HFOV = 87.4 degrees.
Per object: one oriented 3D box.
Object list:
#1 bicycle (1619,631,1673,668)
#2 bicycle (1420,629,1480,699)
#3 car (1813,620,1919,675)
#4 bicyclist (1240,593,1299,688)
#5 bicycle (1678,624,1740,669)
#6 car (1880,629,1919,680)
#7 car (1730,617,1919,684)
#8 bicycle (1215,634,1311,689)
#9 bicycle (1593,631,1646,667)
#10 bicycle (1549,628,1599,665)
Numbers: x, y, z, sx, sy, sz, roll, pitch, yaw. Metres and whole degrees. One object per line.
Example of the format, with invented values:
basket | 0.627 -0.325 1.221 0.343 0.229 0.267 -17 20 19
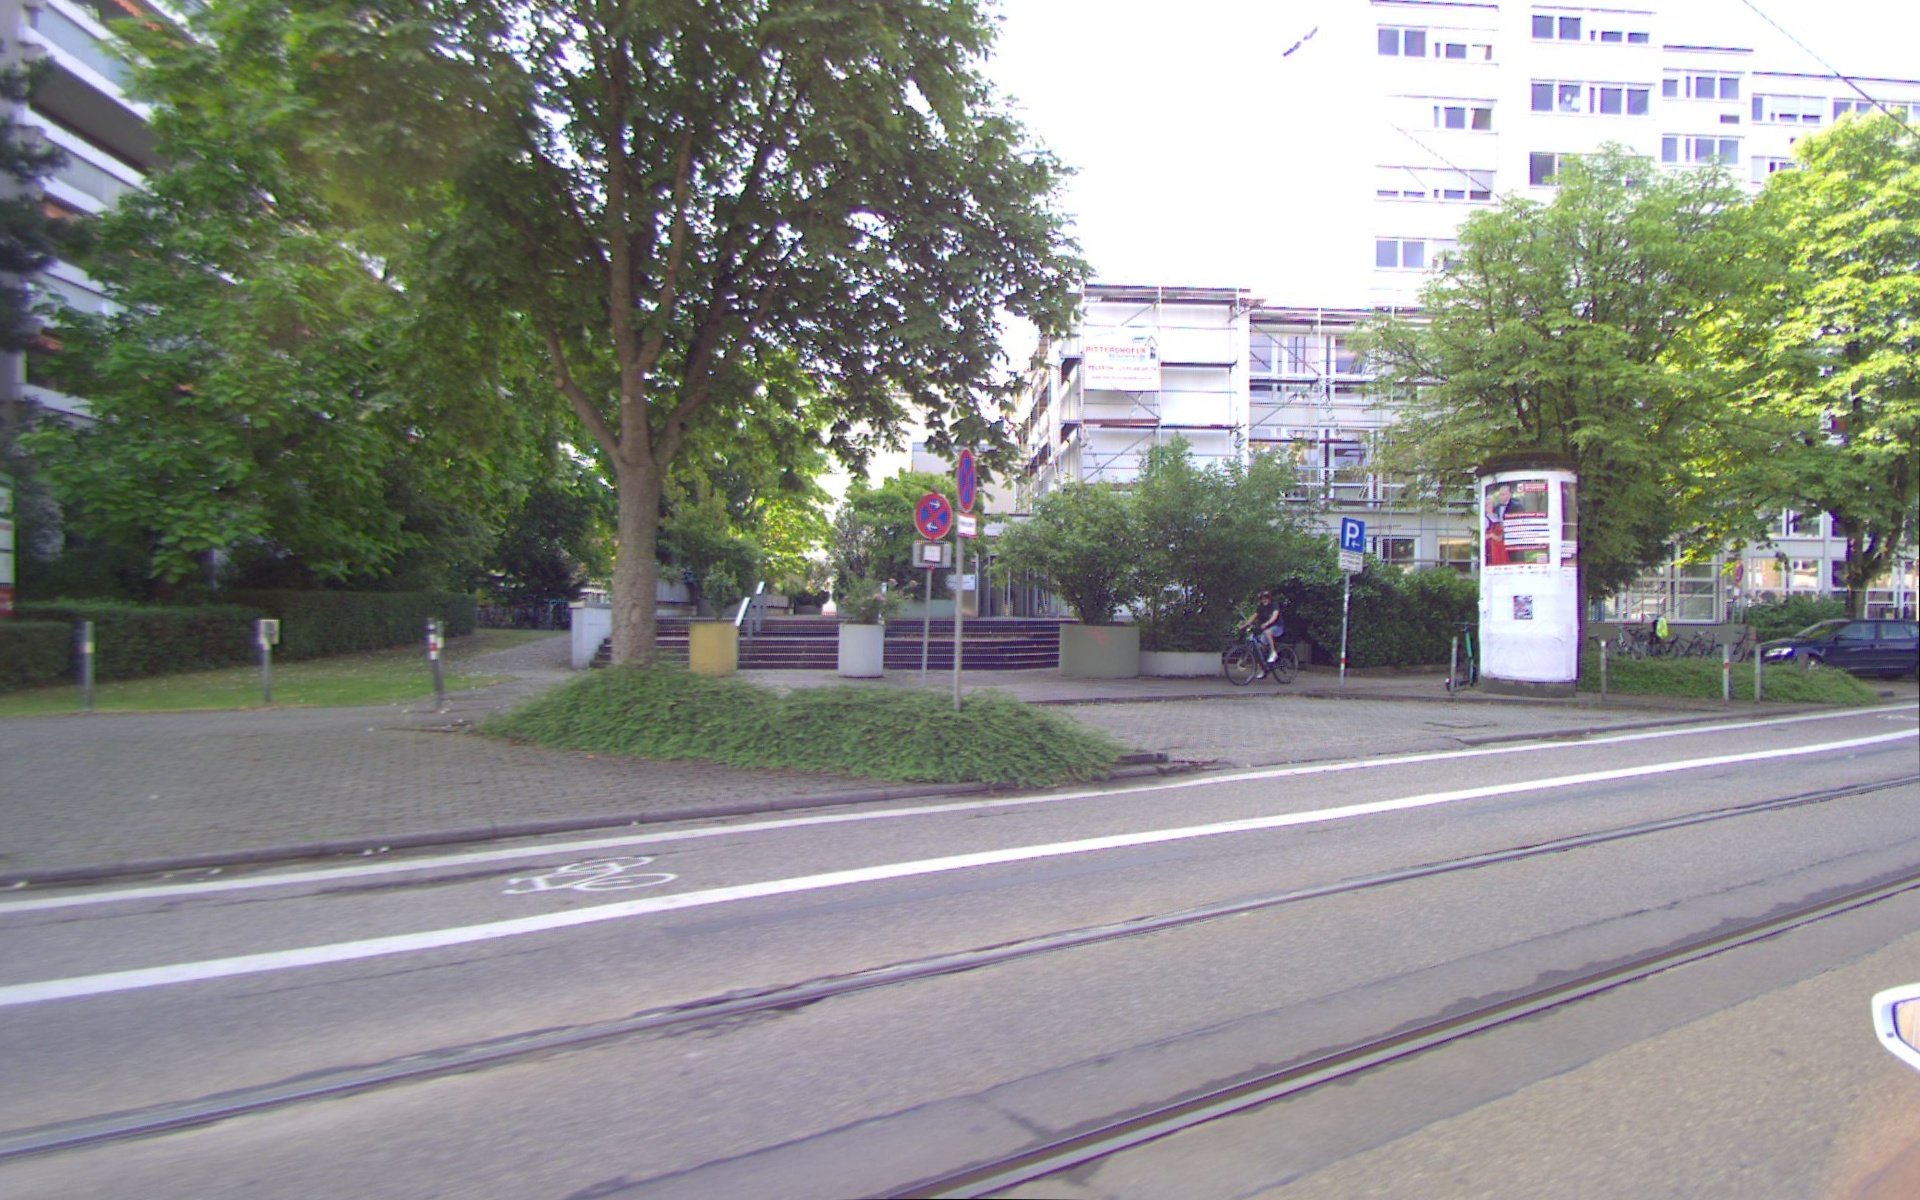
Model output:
bicycle | 22.215 1.584 32.573 0.428 1.084 1.902 2 0 0
bicycle | 8.833 1.133 18.164 0.620 1.170 1.509 2 0 13
car | 27.111 1.369 28.266 4.371 1.445 1.741 2 -1 13
bicyclist | 5.926 0.765 19.234 0.772 1.763 0.720 2 0 -30
bicycle | 24.691 1.509 33.141 0.429 1.382 1.900 2 0 -6
car | 30.132 1.601 29.820 3.708 1.495 1.726 -1 -2 17
car | 21.740 1.225 24.821 3.920 1.482 1.760 2 0 18
bicycle | 5.781 1.159 19.135 1.960 0.993 0.564 2 0 -30
bicycle | 21.387 1.576 32.606 0.428 1.084 1.902 2 0 0
bicycle | 19.867 1.490 32.535 0.428 1.084 1.902 2 0 0
